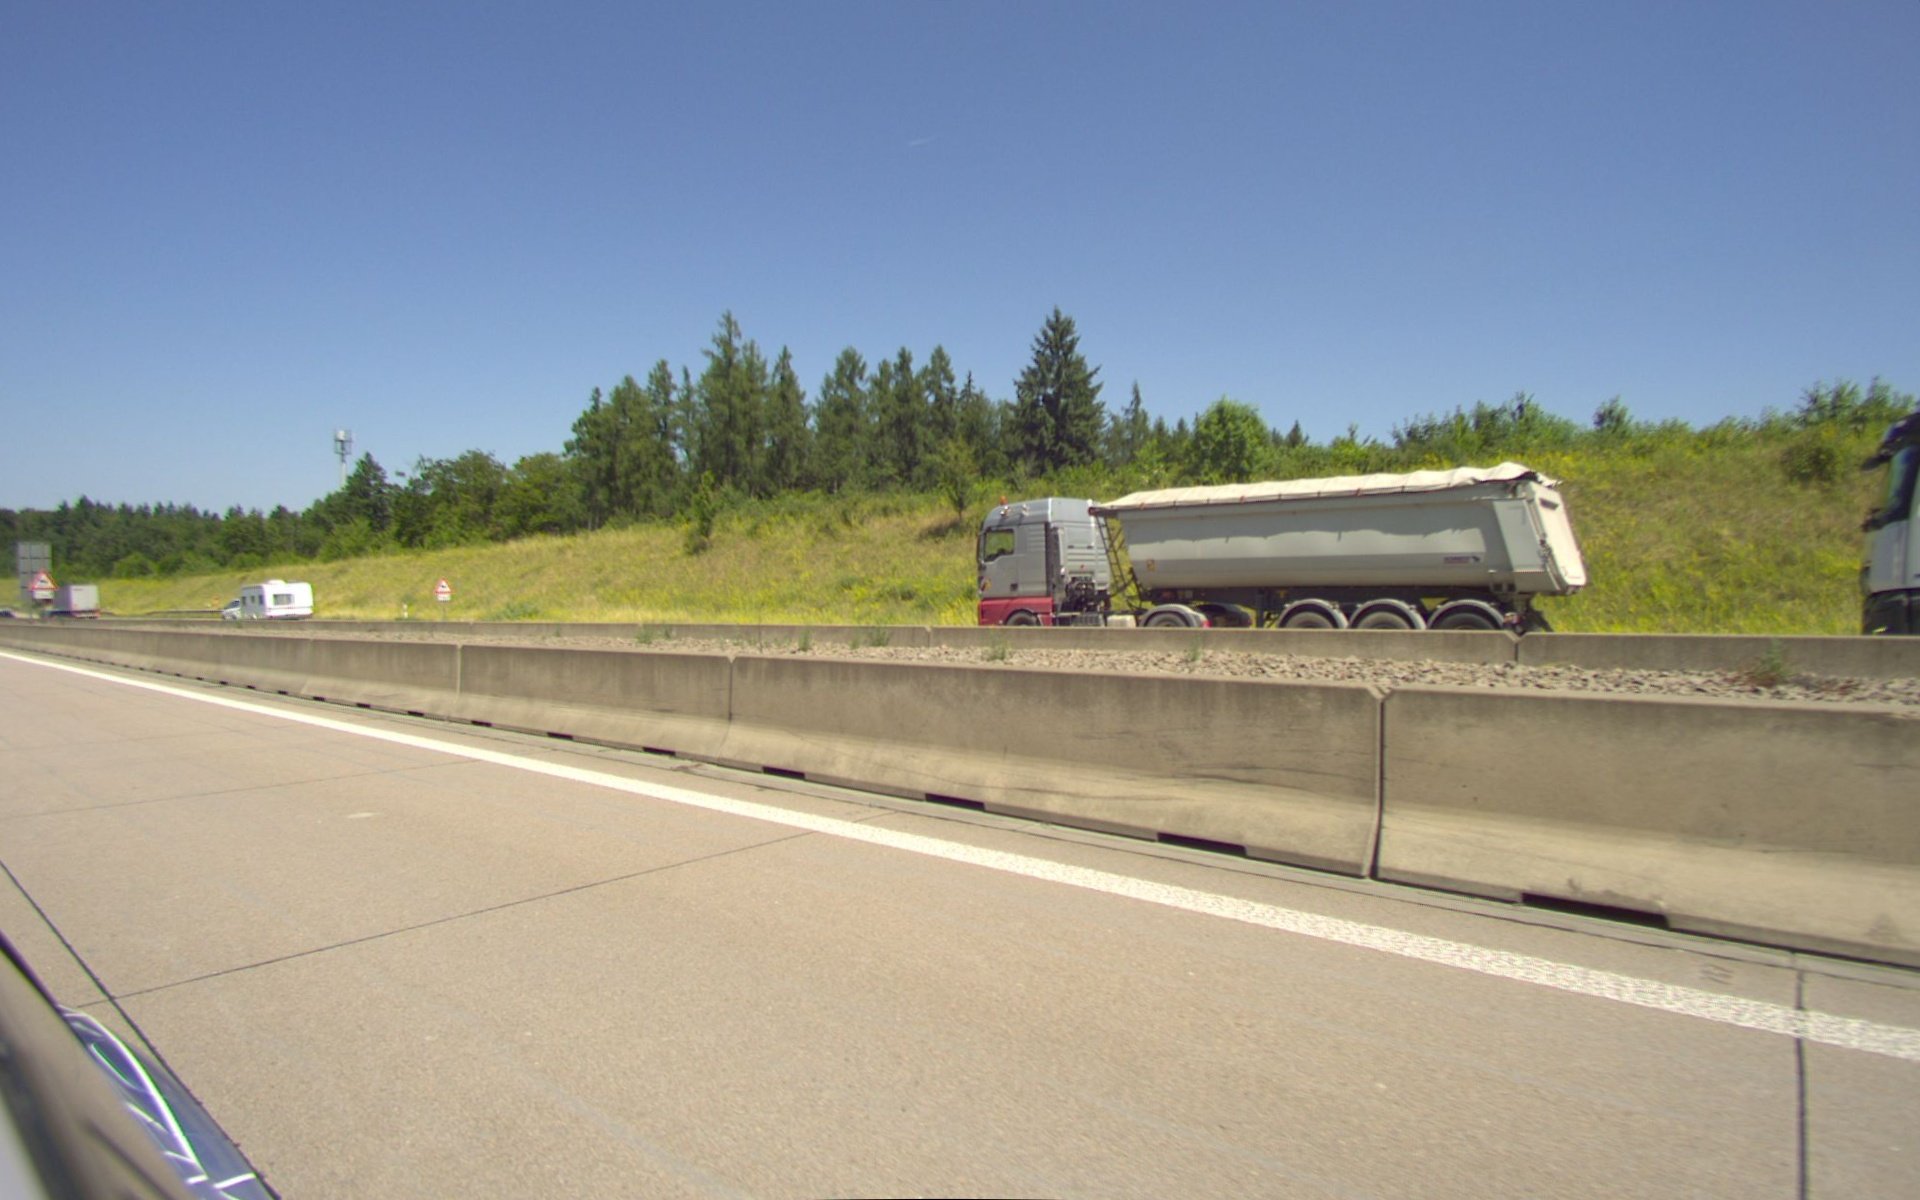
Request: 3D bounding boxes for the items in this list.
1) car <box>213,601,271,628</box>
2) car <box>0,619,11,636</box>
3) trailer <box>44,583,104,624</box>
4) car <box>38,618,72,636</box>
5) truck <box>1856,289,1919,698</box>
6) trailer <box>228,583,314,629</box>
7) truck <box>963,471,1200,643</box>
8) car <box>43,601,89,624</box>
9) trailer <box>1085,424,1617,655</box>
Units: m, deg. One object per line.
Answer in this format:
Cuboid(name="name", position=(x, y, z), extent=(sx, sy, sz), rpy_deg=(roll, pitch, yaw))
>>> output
Cuboid(name="car", position=(-48.378, 0.966, 68.130), extent=(5.372, 1.672, 1.973), rpy_deg=(-1, 1, 42))
Cuboid(name="car", position=(-95.372, 2.719, 99.931), extent=(4.497, 1.570, 1.973), rpy_deg=(-1, 1, 42))
Cuboid(name="trailer", position=(-103.470, 0.376, 118.056), extent=(13.919, 4.464, 3.352), rpy_deg=(0, 2, 42))
Cuboid(name="car", position=(-88.708, 2.634, 99.145), extent=(4.497, 1.570, 1.973), rpy_deg=(-1, 1, 42))
Cuboid(name="truck", position=(12.303, -1.098, 9.360), extent=(5.831, 3.961, 3.130), rpy_deg=(0, 2, 39))
Cuboid(name="trailer", position=(-43.458, 0.393, 63.737), extent=(7.778, 2.651, 2.579), rpy_deg=(-1, 1, 42))
Cuboid(name="truck", position=(2.689, -0.909, 22.744), extent=(4.510, 3.438, 2.697), rpy_deg=(0, 2, 41))
Cuboid(name="car", position=(-64.068, 0.876, 72.505), extent=(3.999, 1.530, 1.973), rpy_deg=(-1, 1, 42))
Cuboid(name="trailer", position=(6.863, -0.929, 19.056), extent=(8.951, 3.438, 2.697), rpy_deg=(0, 2, 41))
